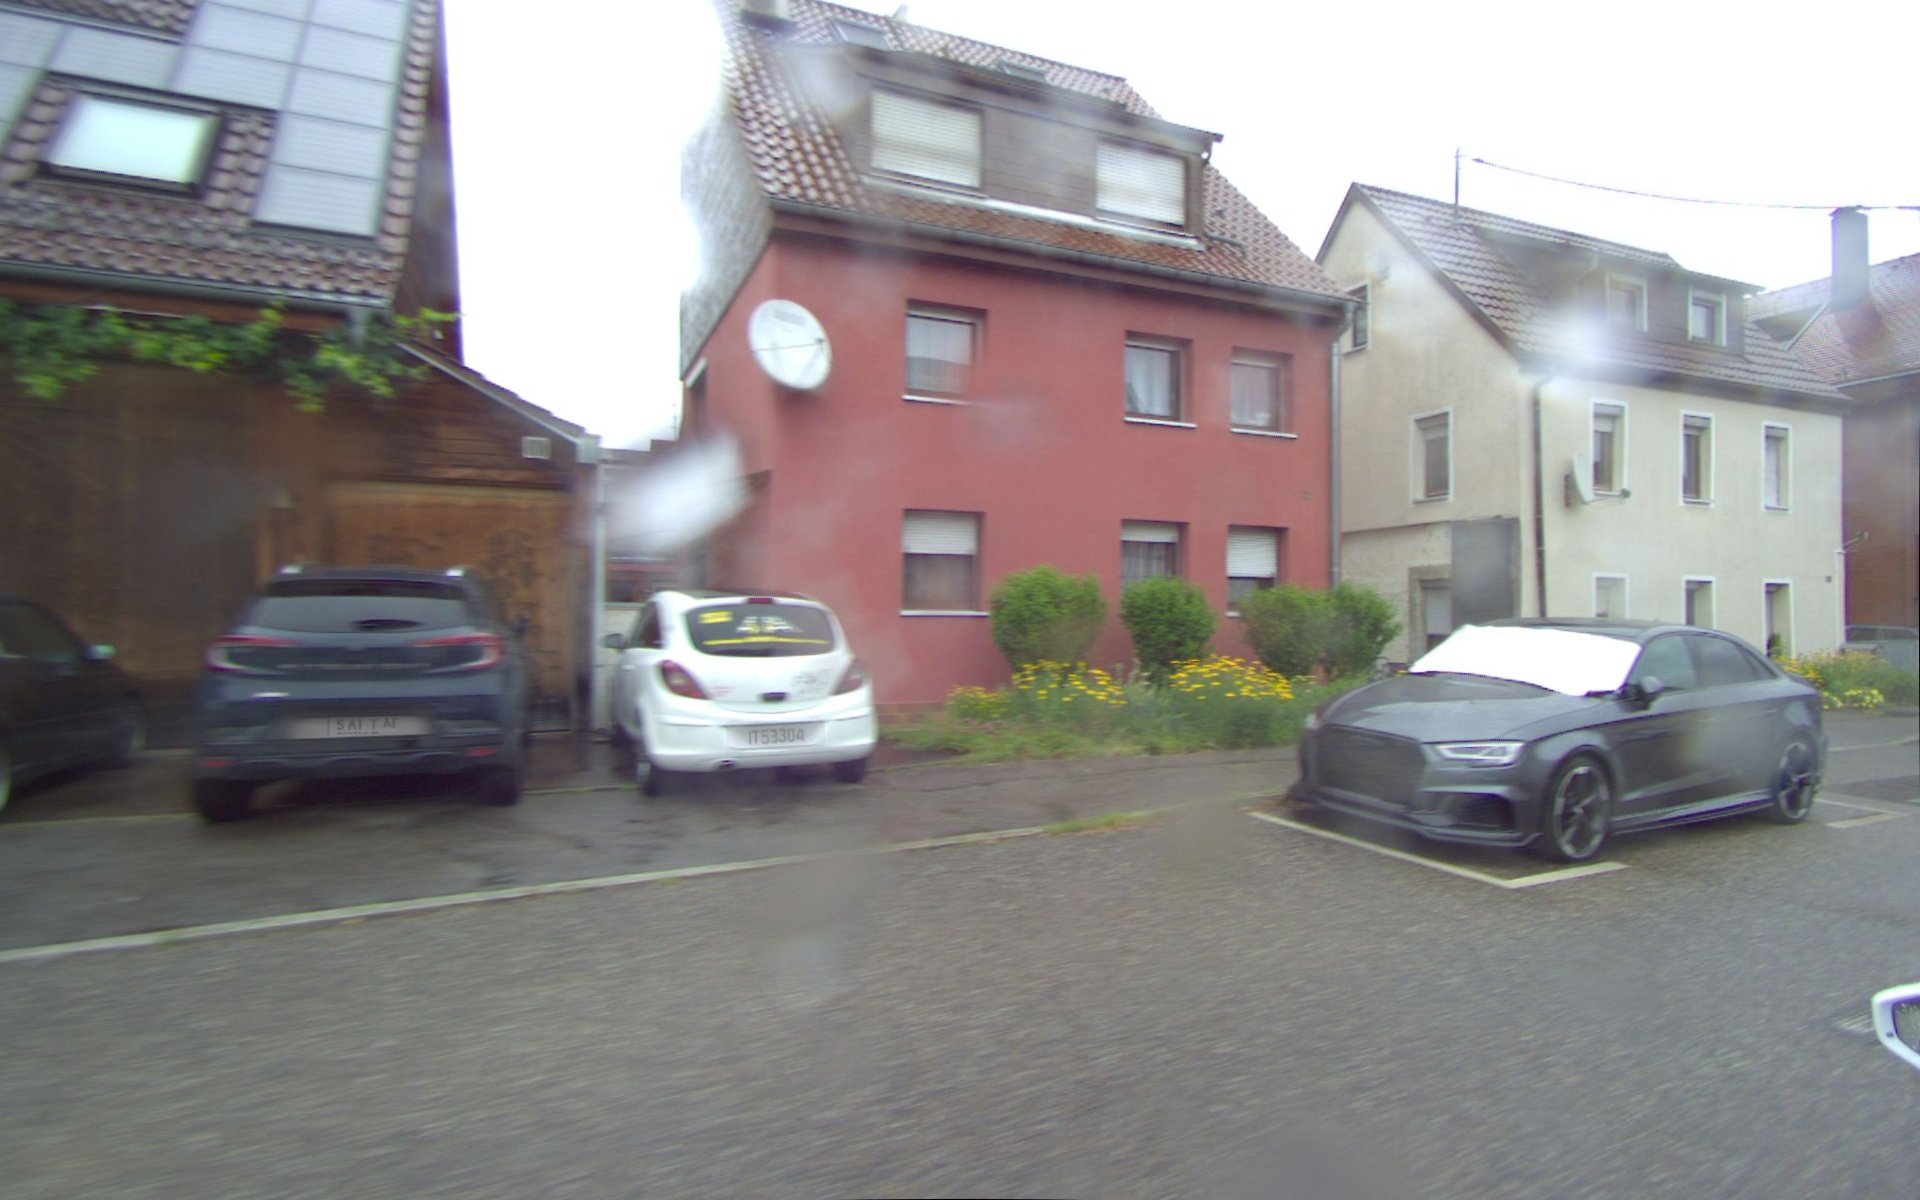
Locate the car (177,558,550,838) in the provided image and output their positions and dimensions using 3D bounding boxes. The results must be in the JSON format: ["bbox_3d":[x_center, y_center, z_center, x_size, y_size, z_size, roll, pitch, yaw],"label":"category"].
[{"bbox_3d":[-4.063,0.511,7.468,1.828,1.526,3.568,1,1,-22],"label":"car"}]

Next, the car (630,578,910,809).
[{"bbox_3d":[-1.767,0.661,8.435,1.568,1.498,3.452,1,-2,-24],"label":"car"}]

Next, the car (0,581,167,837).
[{"bbox_3d":[-6.562,0.624,6.329,1.610,1.437,3.437,1,-2,-24],"label":"car"}]

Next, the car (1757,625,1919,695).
[{"bbox_3d":[20.161,1.279,21.824,1.761,1.421,4.169,1,-2,-19],"label":"car"}]

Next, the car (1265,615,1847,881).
[{"bbox_3d":[4.248,0.848,7.052,4.059,1.374,1.620,1,1,-28],"label":"car"}]
